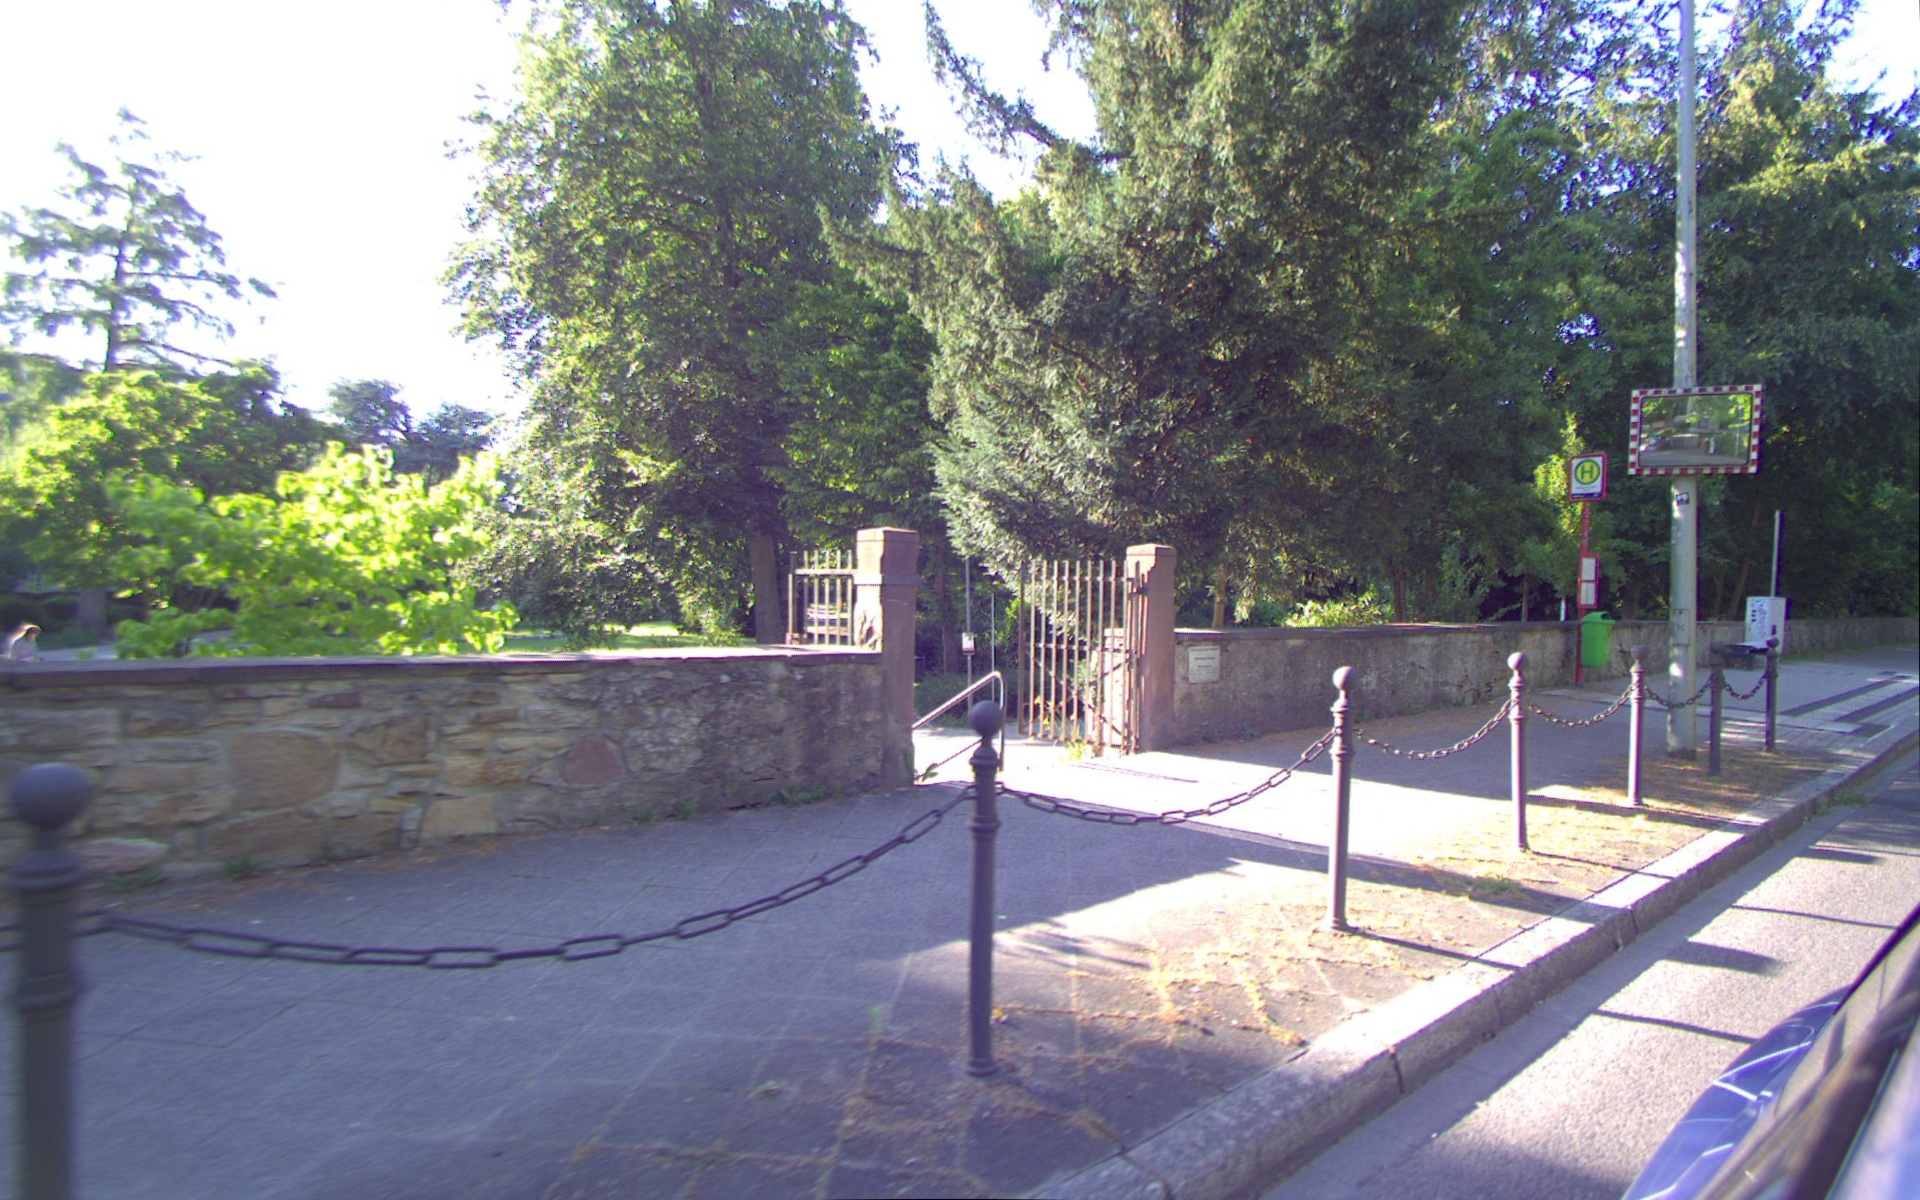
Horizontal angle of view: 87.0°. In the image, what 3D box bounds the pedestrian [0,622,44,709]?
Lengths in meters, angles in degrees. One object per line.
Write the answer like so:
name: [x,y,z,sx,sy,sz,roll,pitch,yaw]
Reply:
pedestrian: [-18.413,1.269,19.833,0.625,1.661,0.616,0,-1,-39]
